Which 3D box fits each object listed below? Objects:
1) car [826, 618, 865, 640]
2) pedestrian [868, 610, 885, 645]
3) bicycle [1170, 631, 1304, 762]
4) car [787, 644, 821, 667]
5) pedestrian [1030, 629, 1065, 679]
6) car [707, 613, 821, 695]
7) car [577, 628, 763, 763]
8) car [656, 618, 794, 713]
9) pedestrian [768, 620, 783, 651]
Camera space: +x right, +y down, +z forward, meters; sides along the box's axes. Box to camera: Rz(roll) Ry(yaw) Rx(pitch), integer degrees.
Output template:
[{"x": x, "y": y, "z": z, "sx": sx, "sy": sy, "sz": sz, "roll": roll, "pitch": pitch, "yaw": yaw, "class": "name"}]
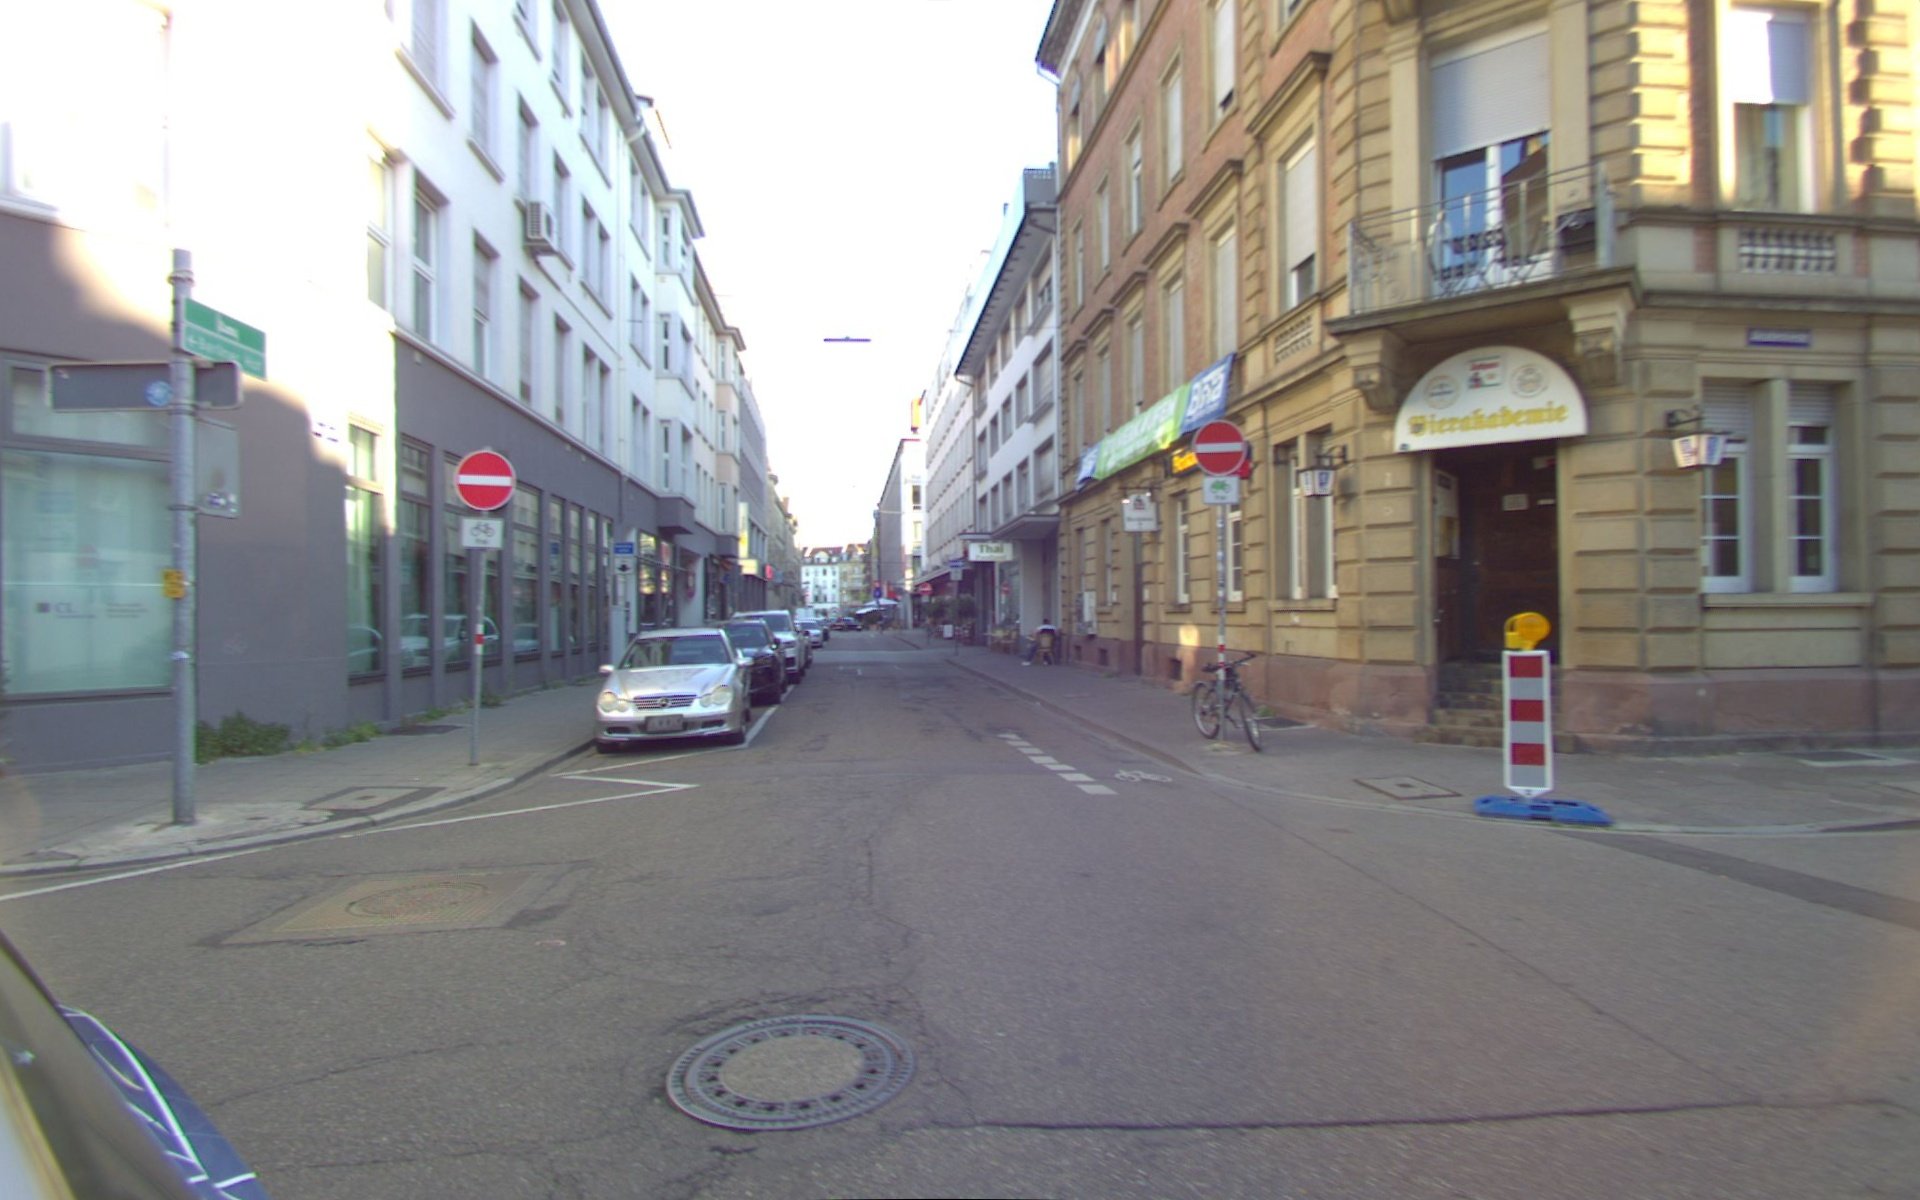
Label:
[{"x": -10.821, "y": 2.720, "z": 95.326, "sx": 1.967, "sy": 2.029, "sz": 4.009, "roll": 0, "pitch": -1, "yaw": -37, "class": "car"}, {"x": -6.480, "y": 2.129, "z": 78.733, "sx": 1.229, "sy": 2.634, "sz": 1.469, "roll": 0, "pitch": -1, "yaw": -6, "class": "pedestrian"}, {"x": 3.006, "y": 1.006, "z": 11.182, "sx": 0.650, "sy": 1.285, "sz": 1.767, "roll": -4, "pitch": -1, "yaw": -10, "class": "bicycle"}, {"x": -7.754, "y": 2.764, "z": 50.570, "sx": 1.492, "sy": 1.067, "sz": 3.471, "roll": 0, "pitch": -2, "yaw": -6, "class": "car"}, {"x": 2.405, "y": 1.466, "z": 27.762, "sx": 0.830, "sy": 1.350, "sz": 0.801, "roll": -1, "pitch": -1, "yaw": 15, "class": "pedestrian"}, {"x": -4.606, "y": 1.249, "z": 24.404, "sx": 2.301, "sy": 1.757, "sz": 4.493, "roll": 0, "pitch": -2, "yaw": -6, "class": "car"}, {"x": -3.622, "y": 1.113, "z": 13.370, "sx": 1.729, "sy": 1.412, "sz": 4.496, "roll": -2, "pitch": -2, "yaw": -8, "class": "car"}, {"x": -4.194, "y": 1.138, "z": 18.665, "sx": 1.984, "sy": 1.536, "sz": 4.122, "roll": 0, "pitch": -2, "yaw": -6, "class": "car"}, {"x": -13.416, "y": 2.582, "z": 73.493, "sx": 1.015, "sy": 2.191, "sz": 0.887, "roll": 0, "pitch": -2, "yaw": -13, "class": "pedestrian"}]
